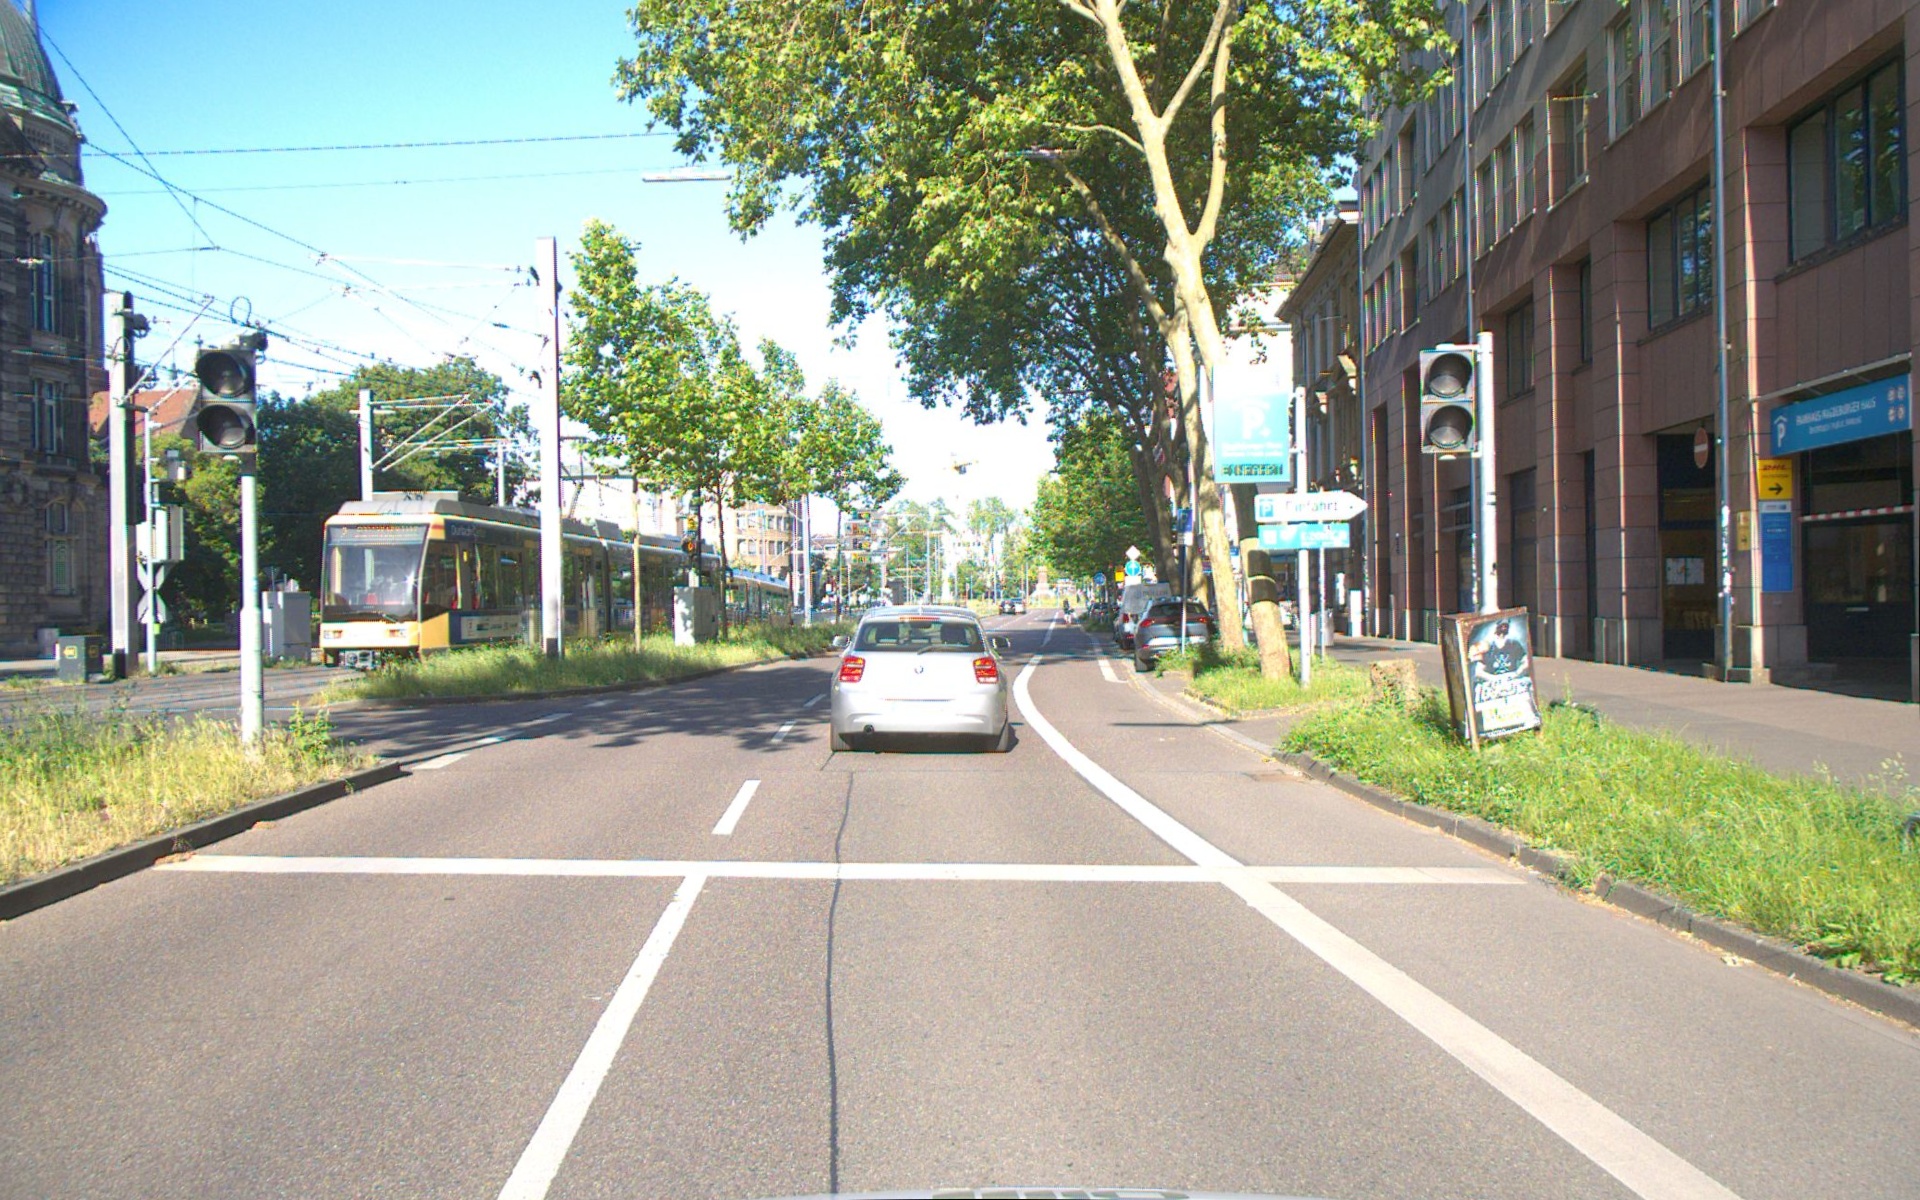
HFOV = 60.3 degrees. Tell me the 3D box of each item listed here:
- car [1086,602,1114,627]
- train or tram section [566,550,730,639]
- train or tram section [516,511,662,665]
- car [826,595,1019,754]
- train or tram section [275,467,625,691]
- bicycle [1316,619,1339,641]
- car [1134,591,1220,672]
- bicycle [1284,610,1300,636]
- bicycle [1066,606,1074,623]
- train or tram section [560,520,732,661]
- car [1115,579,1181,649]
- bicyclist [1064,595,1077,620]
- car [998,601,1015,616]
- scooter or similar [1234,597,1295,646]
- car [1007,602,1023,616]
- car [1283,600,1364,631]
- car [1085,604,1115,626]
[{"bbox_3d":[9.363,0.961,110.727,1.659,1.528,3.803,-3,0,3],"label":"car"},{"bbox_3d":[-14.044,-0.180,77.192,2.902,3.545,21.223,0,0,2],"label":"train or tram section"},{"bbox_3d":[-10.050,-0.302,45.164,2.893,3.965,3.867,1,-1,2],"label":"train or tram section"},{"bbox_3d":[-0.398,0.708,17.314,1.761,1.440,3.998,1,-1,-2],"label":"car"},{"bbox_3d":[-10.364,-0.303,36.077,2.868,3.879,14.274,1,-1,1],"label":"train or tram section"},{"bbox_3d":[13.382,1.085,60.259,0.537,0.787,1.663,-2,-1,3],"label":"bicycle"},{"bbox_3d":[4.594,0.659,35.440,1.633,1.598,4.282,1,-1,5],"label":"car"},{"bbox_3d":[13.585,0.936,67.705,0.406,1.015,1.883,0,-1,3],"label":"bicycle"},{"bbox_3d":[6.937,0.918,104.146,0.489,1.107,1.998,1,-1,4],"label":"bicycle"},{"bbox_3d":[-9.691,-0.229,52.536,2.891,3.965,10.805,1,-1,2],"label":"train or tram section"},{"bbox_3d":[5.869,0.443,52.091,1.817,2.049,4.725,1,-1,4],"label":"car"},{"bbox_3d":[6.953,0.447,104.224,0.768,1.558,0.895,1,-1,4],"label":"bicyclist"},{"bbox_3d":[4.639,0.859,166.884,1.691,1.496,4.411,0,-1,1],"label":"car"},{"bbox_3d":[7.973,0.567,43.321,1.508,1.259,0.449,-1,0,4],"label":"scooter or similar"},{"bbox_3d":[5.820,0.947,174.941,1.610,1.446,4.002,0,-1,4],"label":"car"},{"bbox_3d":[18.256,0.777,83.089,3.855,1.500,1.667,0,-1,8],"label":"car"},{"bbox_3d":[10.002,1.038,118.298,1.996,1.535,4.595,-1,0,4],"label":"car"}]
